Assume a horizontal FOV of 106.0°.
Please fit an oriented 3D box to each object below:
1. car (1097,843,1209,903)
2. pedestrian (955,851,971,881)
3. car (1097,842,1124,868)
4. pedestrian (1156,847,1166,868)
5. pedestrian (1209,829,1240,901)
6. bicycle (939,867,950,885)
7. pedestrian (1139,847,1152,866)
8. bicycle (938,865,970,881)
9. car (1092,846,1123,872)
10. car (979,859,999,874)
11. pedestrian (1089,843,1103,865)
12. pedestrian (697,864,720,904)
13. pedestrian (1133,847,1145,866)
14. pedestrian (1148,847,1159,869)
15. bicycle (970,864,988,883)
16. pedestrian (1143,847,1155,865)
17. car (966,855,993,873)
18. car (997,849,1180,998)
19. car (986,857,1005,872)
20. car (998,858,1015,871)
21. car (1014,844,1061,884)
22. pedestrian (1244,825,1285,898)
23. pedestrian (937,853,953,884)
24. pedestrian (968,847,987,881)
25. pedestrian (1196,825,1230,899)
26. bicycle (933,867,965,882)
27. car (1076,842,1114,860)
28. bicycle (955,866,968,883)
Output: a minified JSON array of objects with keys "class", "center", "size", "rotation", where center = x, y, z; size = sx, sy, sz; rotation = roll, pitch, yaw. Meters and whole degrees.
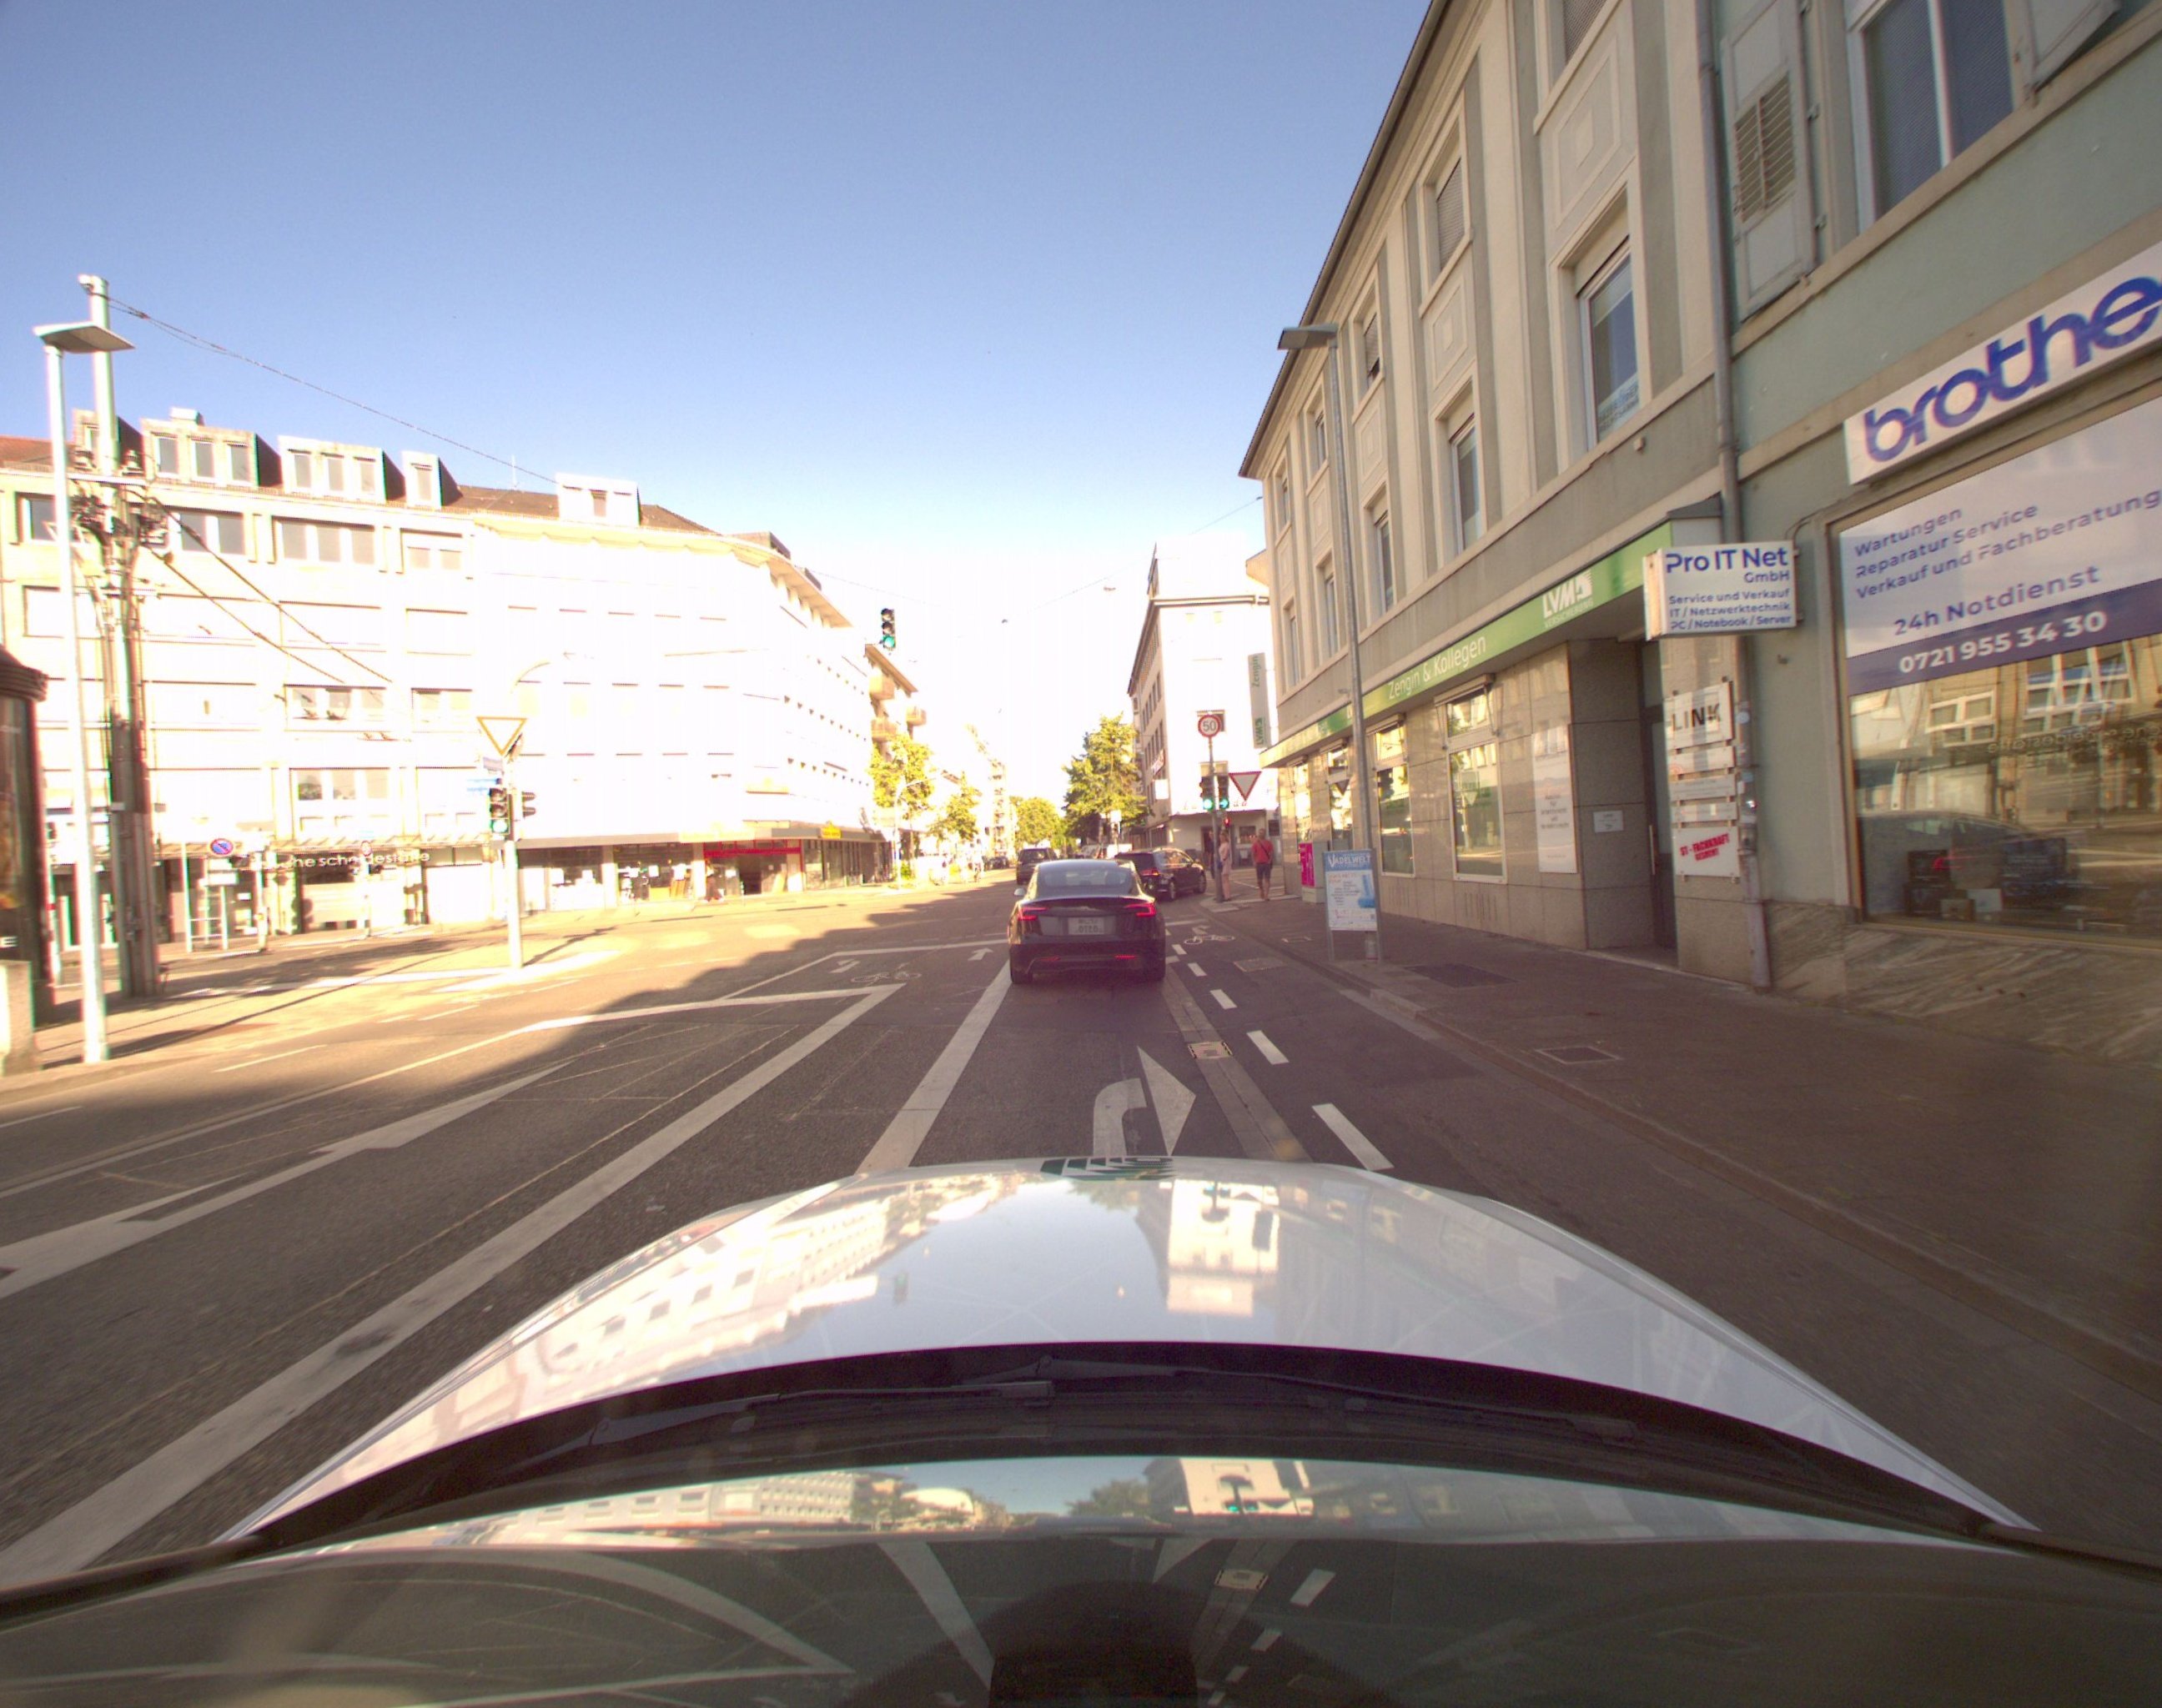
[{"class":"car","center":[2.131,0.480,22.857],"size":[1.746,1.418,4.379],"rotation":[-3,0,24]},{"class":"pedestrian","center":[-6.866,0.695,47.419],"size":[0.779,1.728,0.556],"rotation":[-3,0,-15]},{"class":"car","center":[2.255,0.093,63.866],"size":[1.898,1.852,4.288],"rotation":[-3,0,0]},{"class":"pedestrian","center":[5.174,0.205,52.558],"size":[0.485,1.322,0.655],"rotation":[-4,0,7]},{"class":"pedestrian","center":[3.606,0.263,20.485],"size":[0.571,1.759,0.649],"rotation":[-3,0,0]},{"class":"bicycle","center":[-7.804,1.246,46.522],"size":[0.481,0.955,1.448],"rotation":[-4,0,-14]},{"class":"pedestrian","center":[4.834,0.184,61.272],"size":[0.729,1.347,1.059],"rotation":[-4,0,-2]},{"class":"bicycle","center":[-9.930,1.476,63.640],"size":[2.398,1.006,0.653],"rotation":[-4,0,-11]},{"class":"car","center":[1.819,0.306,57.342],"size":[1.994,1.636,4.288],"rotation":[-3,0,0]},{"class":"car","center":[-9.937,1.352,88.248],"size":[1.781,1.402,3.904],"rotation":[-3,0,-2]},{"class":"pedestrian","center":[1.365,0.009,73.899],"size":[0.950,1.915,1.110],"rotation":[-4,0,16]},{"class":"pedestrian","center":[-16.320,1.309,35.711],"size":[0.557,1.709,0.711],"rotation":[-4,0,-3]},{"class":"pedestrian","center":[4.440,0.204,62.379],"size":[0.707,1.347,1.059],"rotation":[-4,0,-3]},{"class":"pedestrian","center":[4.619,0.245,51.775],"size":[0.584,1.313,0.560],"rotation":[-4,0,0]},{"class":"bicycle","center":[-5.928,1.134,47.253],"size":[0.759,1.007,1.718],"rotation":[-7,1,-11]},{"class":"pedestrian","center":[5.219,0.148,62.544],"size":[0.728,1.360,0.958],"rotation":[-4,0,0]},{"class":"car","center":[-9.969,0.974,80.543],"size":[1.986,1.598,4.002],"rotation":[-3,0,2]},{"class":"car","center":[0.128,0.731,10.867],"size":[1.863,1.427,4.366],"rotation":[-4,1,1]},{"class":"car","center":[-9.744,1.203,93.354],"size":[1.713,1.610,3.596],"rotation":[-4,0,0]},{"class":"car","center":[-8.966,1.271,98.209],"size":[1.781,1.402,3.904],"rotation":[-3,0,-2]},{"class":"car","center":[-2.051,0.453,39.255],"size":[1.898,1.733,4.288],"rotation":[-3,0,0]},{"class":"pedestrian","center":[4.489,0.169,19.922],"size":[0.687,1.703,0.912],"rotation":[-5,0,1]},{"class":"pedestrian","center":[-7.723,0.828,46.197],"size":[0.792,1.712,0.651],"rotation":[-3,0,-15]},{"class":"pedestrian","center":[-6.002,0.594,47.289],"size":[0.779,1.866,0.997],"rotation":[-6,1,-14]},{"class":"pedestrian","center":[3.405,0.212,21.027],"size":[0.638,1.842,0.681],"rotation":[-4,0,0]},{"class":"bicycle","center":[-9.845,1.505,60.756],"size":[2.222,0.958,0.653],"rotation":[-4,0,-13]},{"class":"car","center":[1.980,-0.435,119.162],"size":[5.376,2.145,1.999],"rotation":[-4,0,-1]},{"class":"bicycle","center":[-6.934,1.175,47.242],"size":[0.552,0.968,1.788],"rotation":[-4,0,-11]}]
